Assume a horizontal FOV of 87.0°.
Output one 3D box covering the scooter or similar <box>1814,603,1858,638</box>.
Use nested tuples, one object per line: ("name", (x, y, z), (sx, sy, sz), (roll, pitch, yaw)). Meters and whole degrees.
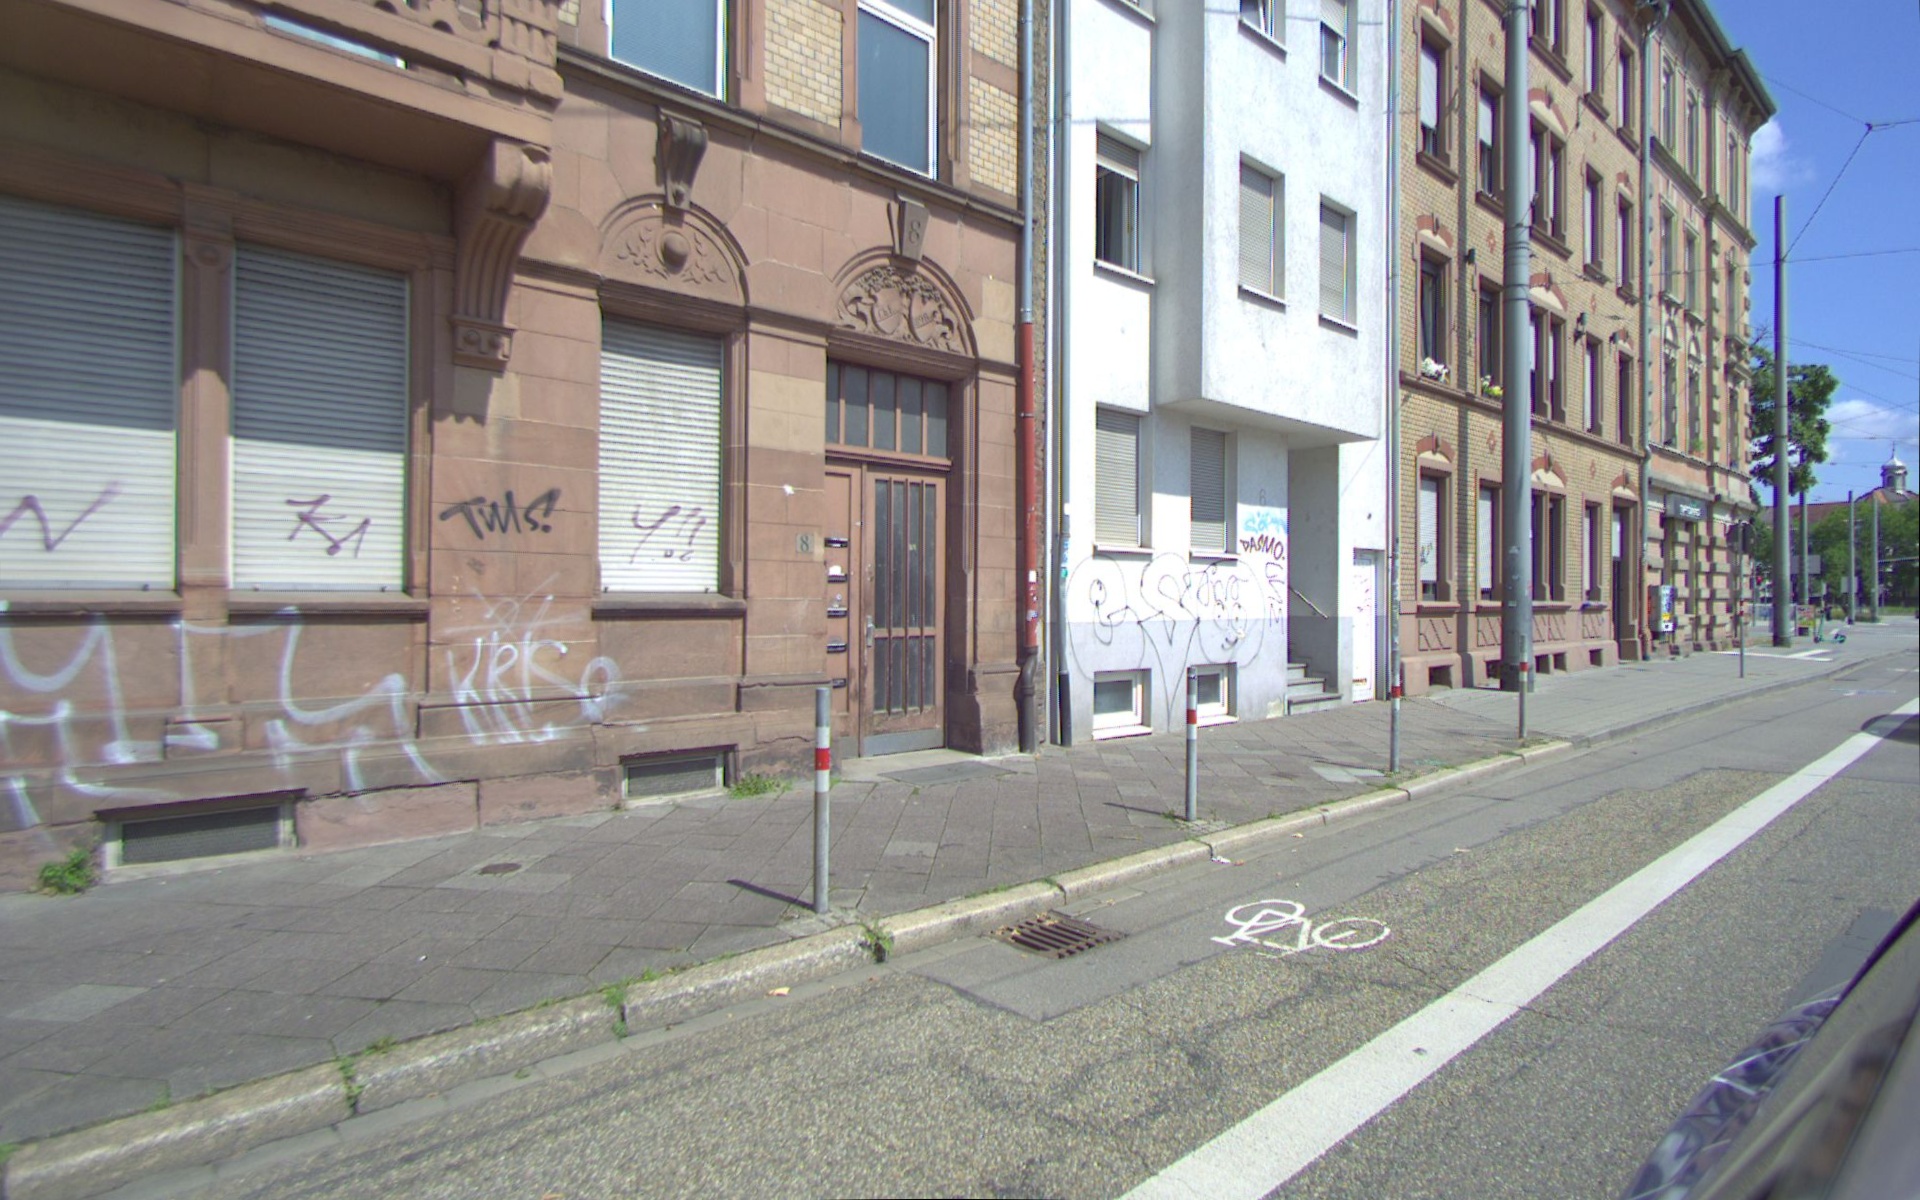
("scooter or similar", (31.267, 0.725, 36.132), (1.065, 1.194, 0.951), (0, 1, -35))
